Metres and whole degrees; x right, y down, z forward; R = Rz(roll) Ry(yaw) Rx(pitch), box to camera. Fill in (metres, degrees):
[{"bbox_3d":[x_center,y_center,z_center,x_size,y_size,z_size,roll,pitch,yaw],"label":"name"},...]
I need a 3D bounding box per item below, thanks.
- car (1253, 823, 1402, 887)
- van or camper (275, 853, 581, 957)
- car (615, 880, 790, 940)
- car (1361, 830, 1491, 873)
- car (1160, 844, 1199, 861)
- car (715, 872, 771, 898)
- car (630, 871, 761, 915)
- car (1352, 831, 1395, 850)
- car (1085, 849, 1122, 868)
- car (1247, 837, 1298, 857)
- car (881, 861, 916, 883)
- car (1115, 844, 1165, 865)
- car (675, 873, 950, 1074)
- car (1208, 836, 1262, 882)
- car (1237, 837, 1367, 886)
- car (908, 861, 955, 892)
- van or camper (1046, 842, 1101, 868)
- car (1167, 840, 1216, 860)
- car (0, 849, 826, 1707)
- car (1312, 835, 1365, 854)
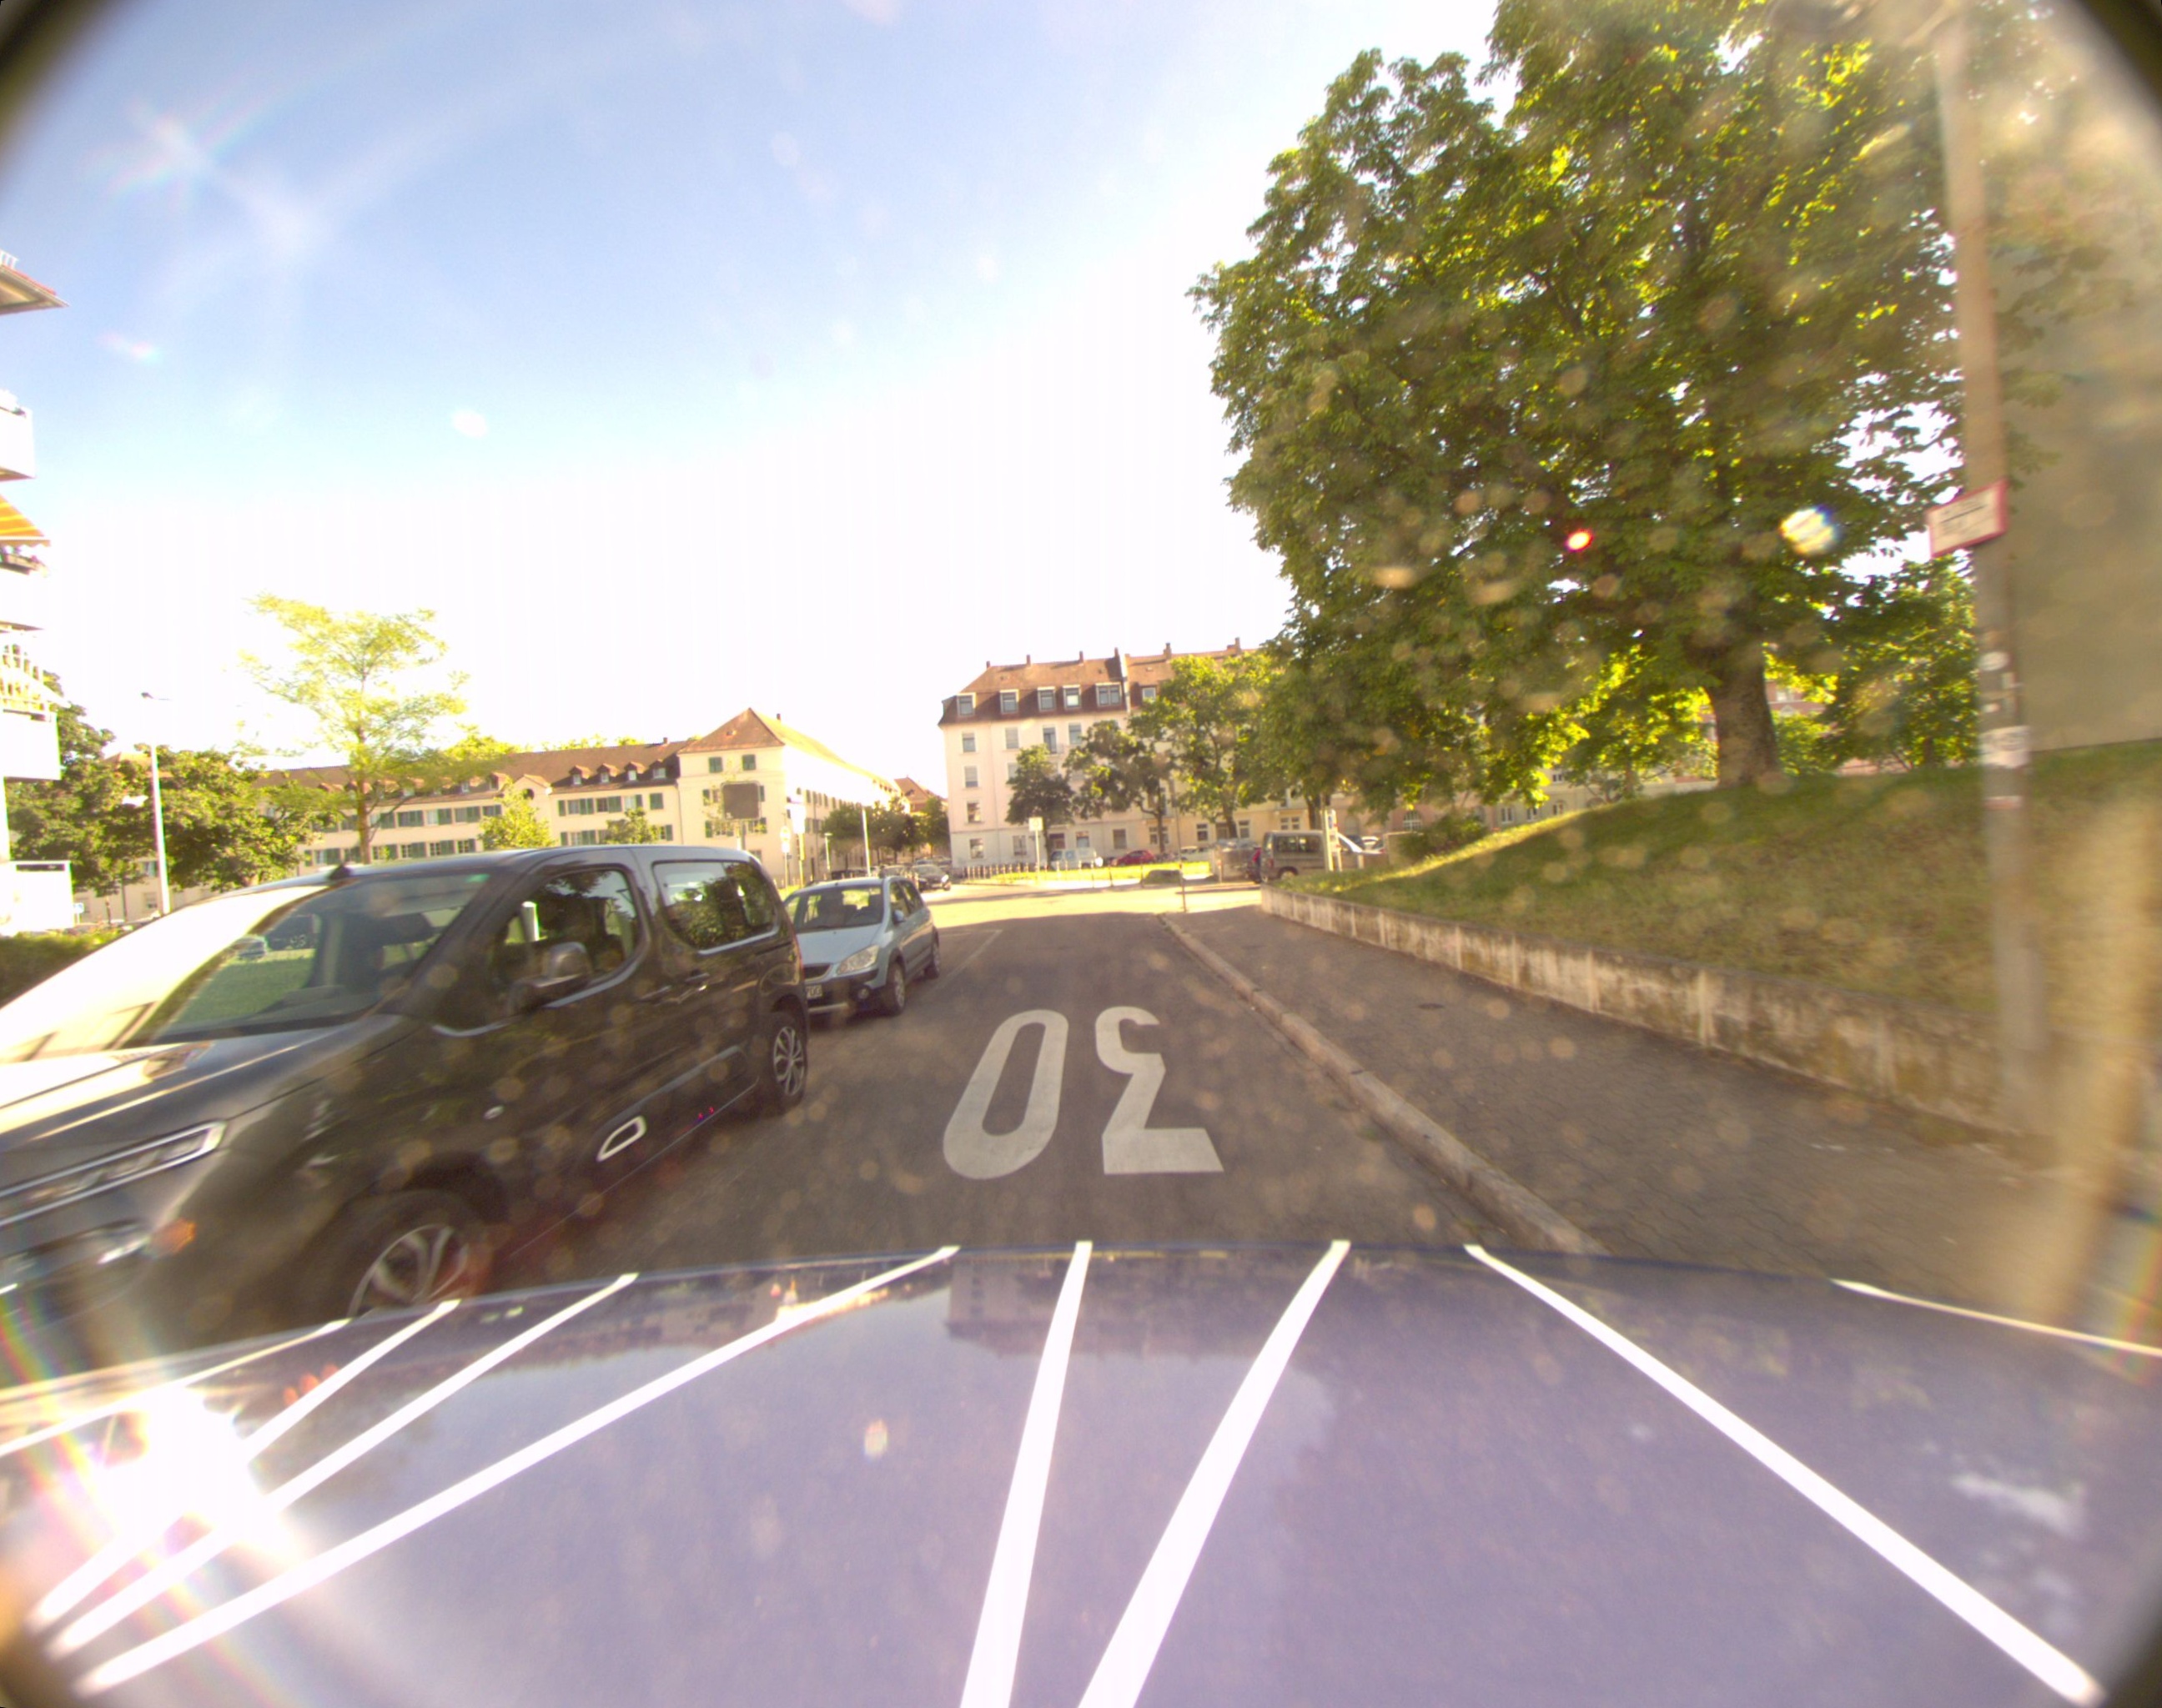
[{"bbox_3d":[7.862,0.021,24.477,4.140,1.730,1.729,-4,2,0],"label":"car"},{"bbox_3d":[-18.673,1.407,21.954,6.980,2.486,2.177,-3,1,2],"label":"van or camper"},{"bbox_3d":[-10.626,1.555,21.529,3.996,1.342,1.802,-3,1,2],"label":"car"},{"bbox_3d":[12.266,-0.091,27.149,3.862,1.265,1.630,-3,1,1],"label":"car"},{"bbox_3d":[8.839,-0.161,68.260,3.192,1.311,1.545,-3,1,0],"label":"car"},{"bbox_3d":[-30.429,2.778,68.524,3.997,2.002,1.999,-3,1,-1],"label":"car"},{"bbox_3d":[-14.149,1.403,27.994,3.996,1.342,1.521,-3,1,2],"label":"car"},{"bbox_3d":[26.120,-1.185,67.906,3.192,1.499,1.545,-3,1,0],"label":"car"},{"bbox_3d":[2.024,0.388,68.292,3.192,1.499,1.545,-3,1,0],"label":"car"},{"bbox_3d":[15.727,-0.609,62.638,3.787,1.437,1.625,-3,1,2],"label":"car"},{"bbox_3d":[-12.348,1.194,51.341,1.674,1.369,3.794,-3,1,-22],"label":"car"},{"bbox_3d":[4.808,0.056,62.672,3.996,1.477,1.722,-3,1,2],"label":"car"},{"bbox_3d":[-2.778,1.136,8.904,1.728,1.528,3.951,-6,1,-1],"label":"car"},{"bbox_3d":[6.123,0.169,30.478,1.678,1.645,3.305,-3,1,5],"label":"car"},{"bbox_3d":[7.866,0.259,27.305,4.140,1.488,1.729,-3,1,1],"label":"car"},{"bbox_3d":[-7.886,1.152,39.807,1.674,1.432,3.794,-3,0,-22],"label":"car"},{"bbox_3d":[-0.647,0.088,63.038,4.355,1.852,1.999,-3,1,-1],"label":"van or camper"},{"bbox_3d":[9.096,-0.345,62.600,3.787,1.437,1.625,-3,1,2],"label":"car"},{"bbox_3d":[-2.849,0.985,3.281,1.855,1.790,4.253,-7,1,0],"label":"car"},{"bbox_3d":[21.136,-0.756,62.500,3.787,1.343,1.625,-3,1,2],"label":"car"}]
